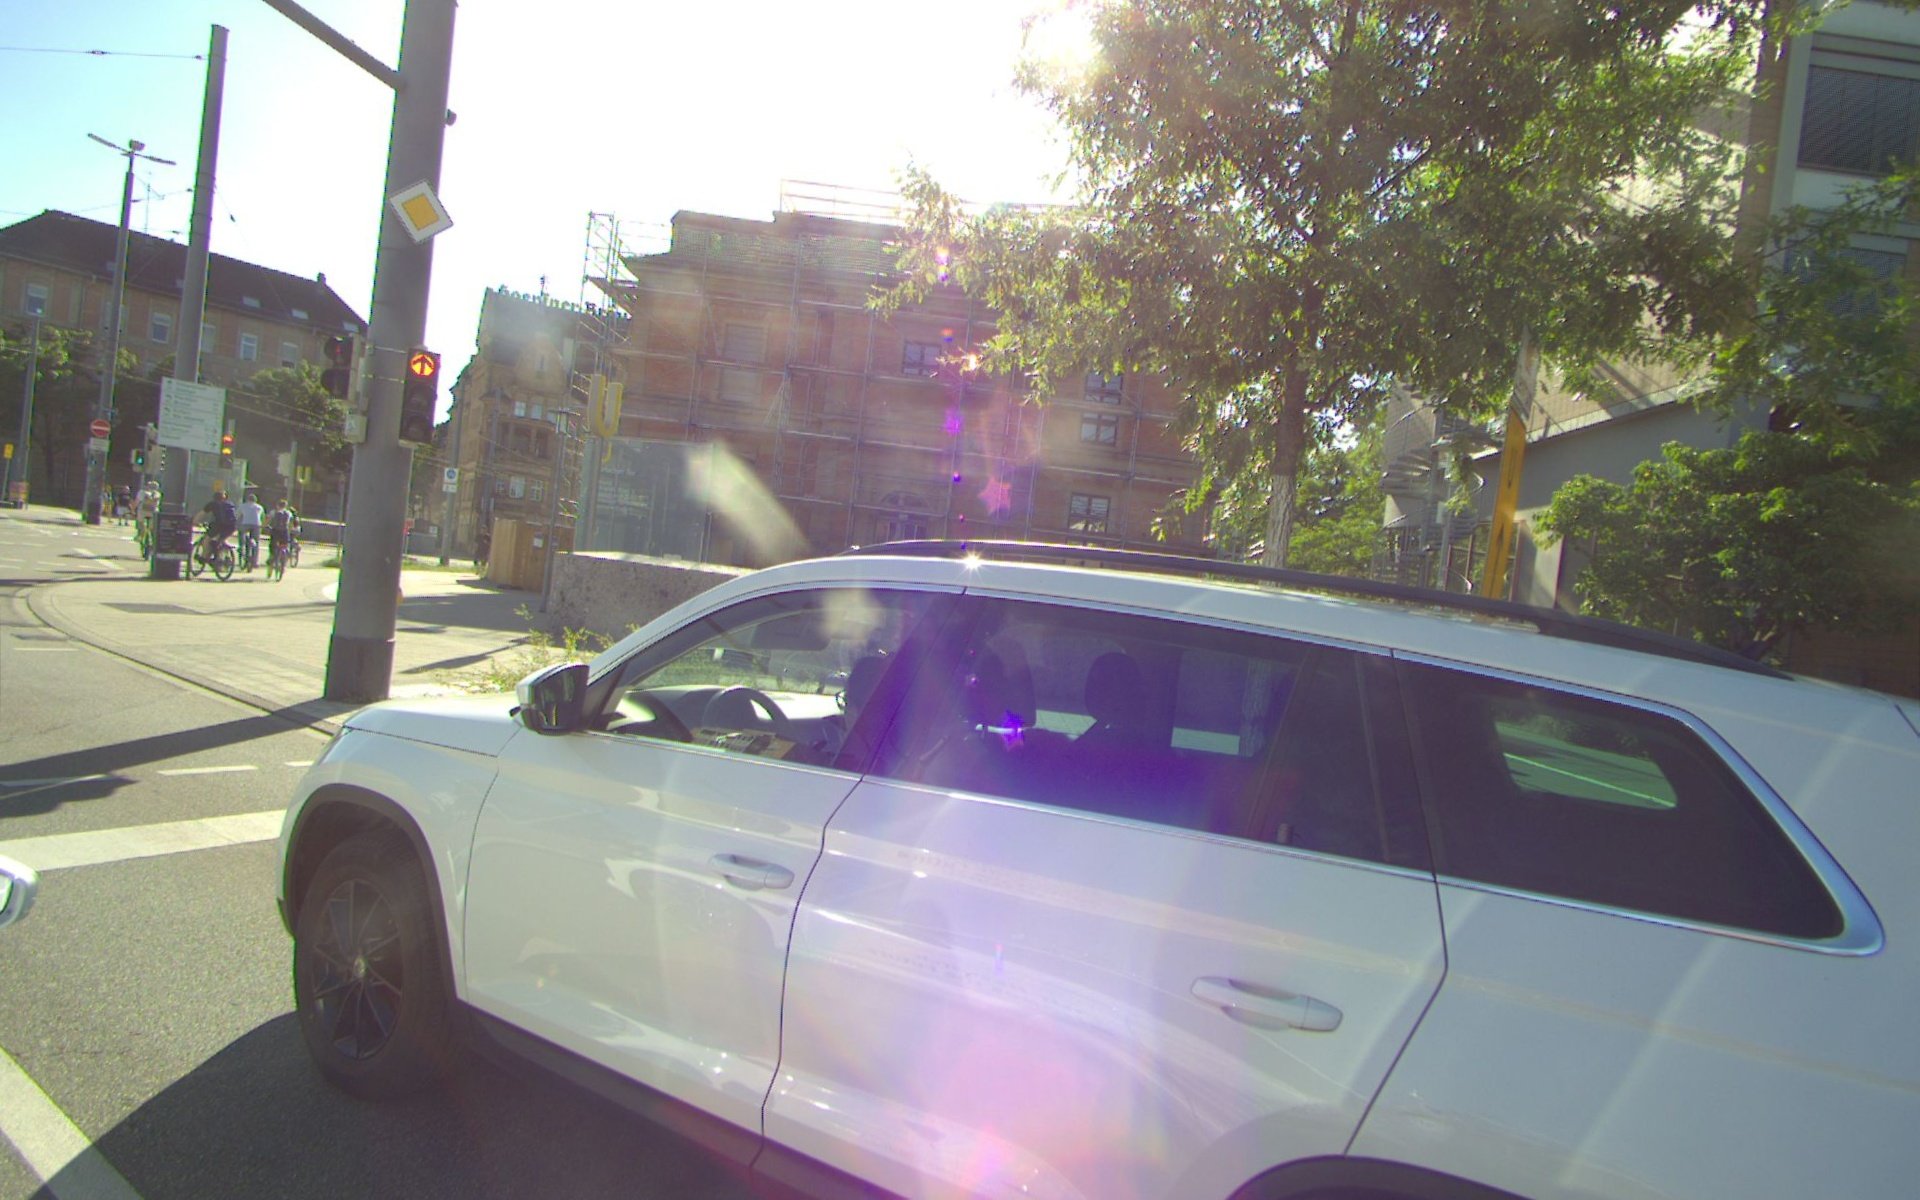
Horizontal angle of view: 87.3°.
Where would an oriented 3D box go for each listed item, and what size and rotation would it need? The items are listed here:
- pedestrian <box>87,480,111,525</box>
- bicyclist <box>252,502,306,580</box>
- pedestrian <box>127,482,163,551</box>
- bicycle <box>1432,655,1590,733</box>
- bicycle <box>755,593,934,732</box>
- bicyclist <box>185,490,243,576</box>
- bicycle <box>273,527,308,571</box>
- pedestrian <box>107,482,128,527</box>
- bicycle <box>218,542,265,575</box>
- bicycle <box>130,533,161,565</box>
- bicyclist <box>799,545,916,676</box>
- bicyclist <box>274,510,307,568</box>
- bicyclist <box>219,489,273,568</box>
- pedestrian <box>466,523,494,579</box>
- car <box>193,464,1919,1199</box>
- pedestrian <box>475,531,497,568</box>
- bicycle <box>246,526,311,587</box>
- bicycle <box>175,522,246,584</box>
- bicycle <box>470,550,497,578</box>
[{"bbox_3d":[-40.933,-4.642,47.847,0.443,2.039,0.574,7,1,14],"label":"pedestrian"},{"bbox_3d":[-14.924,-1.297,22.038,0.963,1.620,0.683,7,3,41],"label":"bicyclist"},{"bbox_3d":[-19.657,-2.013,24.263,0.546,1.582,0.849,6,1,-39],"label":"pedestrian"},{"bbox_3d":[13.068,2.217,23.943,3.079,1.395,0.798,7,1,8],"label":"bicycle"},{"bbox_3d":[-1.273,0.646,10.957,1.804,1.234,0.690,7,3,32],"label":"bicycle"},{"bbox_3d":[-15.292,-1.381,20.619,0.979,1.659,0.625,6,3,36],"label":"bicyclist"},{"bbox_3d":[-19.375,-1.471,29.091,0.569,1.139,1.720,5,1,-41],"label":"bicycle"},{"bbox_3d":[-39.957,-4.504,47.712,0.443,2.039,0.462,7,2,14],"label":"pedestrian"},{"bbox_3d":[-17.517,-1.013,24.529,1.446,0.664,0.536,7,2,39],"label":"bicycle"},{"bbox_3d":[-19.725,-1.246,24.368,0.534,0.664,1.706,5,2,-39],"label":"bicycle"},{"bbox_3d":[-1.107,0.109,10.898,0.892,1.296,0.720,7,3,32],"label":"bicyclist"},{"bbox_3d":[-19.394,-1.782,29.141,0.569,1.589,0.936,5,2,-41],"label":"bicyclist"},{"bbox_3d":[-17.332,-1.731,24.410,0.910,1.802,0.746,8,2,39],"label":"bicyclist"},{"bbox_3d":[-17.356,-1.776,36.387,0.692,1.904,0.716,6,1,-25],"label":"pedestrian"},{"bbox_3d":[-0.003,0.698,2.695,4.224,1.662,1.697,7,0,30],"label":"car"},{"bbox_3d":[-19.194,-2.044,40.733,0.509,1.421,0.959,5,2,-12],"label":"pedestrian"},{"bbox_3d":[-14.924,-0.969,22.019,1.857,1.179,0.683,7,3,41],"label":"bicycle"},{"bbox_3d":[-15.458,-0.973,20.739,1.822,1.128,0.625,6,2,36],"label":"bicycle"},{"bbox_3d":[-19.282,-1.478,40.763,0.509,1.058,1.763,5,2,-12],"label":"bicycle"}]
